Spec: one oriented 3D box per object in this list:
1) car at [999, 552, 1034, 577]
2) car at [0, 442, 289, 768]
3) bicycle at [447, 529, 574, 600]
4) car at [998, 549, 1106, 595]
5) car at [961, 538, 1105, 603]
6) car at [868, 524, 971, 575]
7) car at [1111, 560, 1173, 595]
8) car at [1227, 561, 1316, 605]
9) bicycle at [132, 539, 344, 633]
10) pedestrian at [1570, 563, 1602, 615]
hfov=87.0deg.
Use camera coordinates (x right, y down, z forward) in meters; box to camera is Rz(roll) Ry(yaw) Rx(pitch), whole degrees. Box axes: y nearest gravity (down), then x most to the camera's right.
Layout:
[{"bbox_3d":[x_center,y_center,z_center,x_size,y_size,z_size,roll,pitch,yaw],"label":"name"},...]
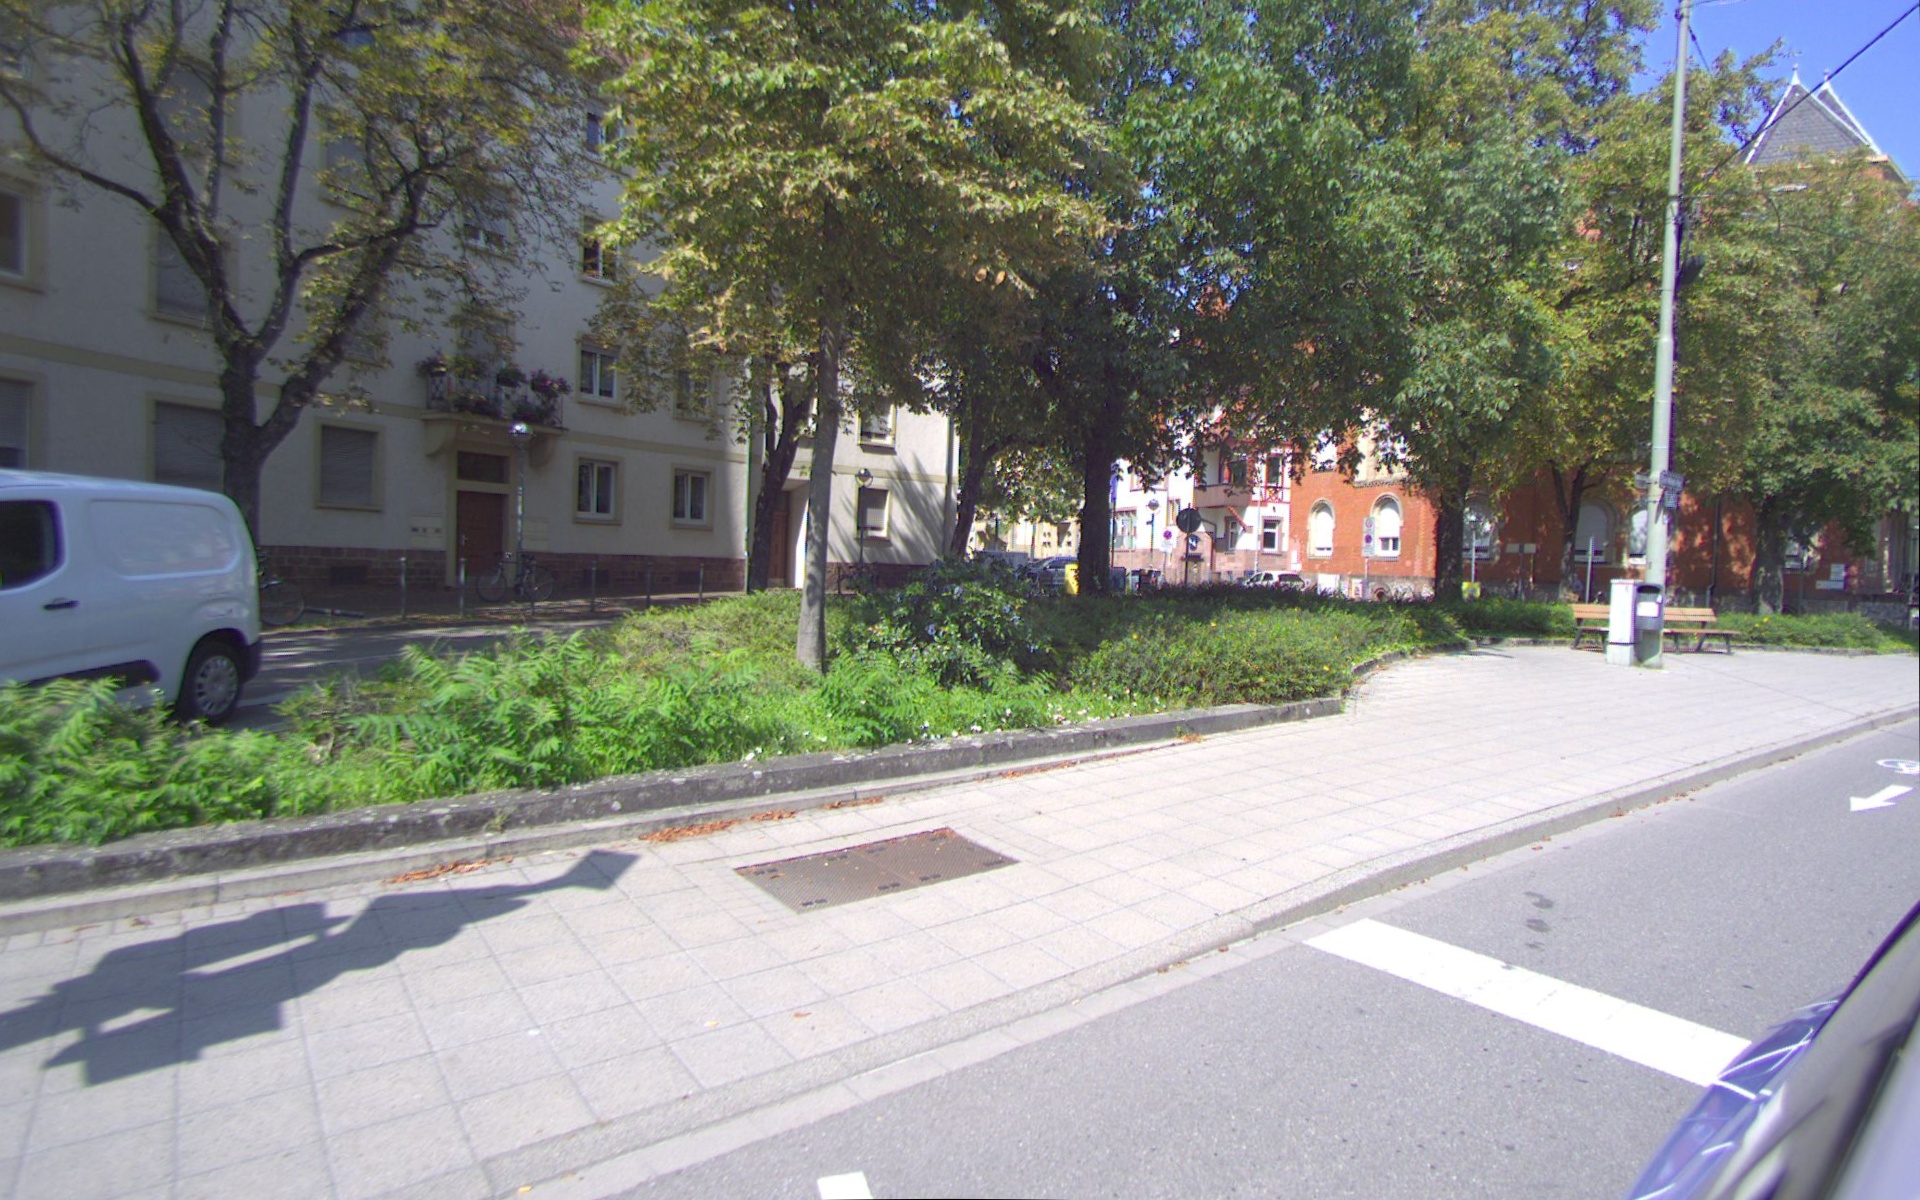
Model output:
[{"bbox_3d":[4.493,-2.841,80.811,1.767,1.834,4.425,2,2,-10],"label":"car"},{"bbox_3d":[-6.296,-0.016,6.076,1.769,1.834,4.420,2,2,-3],"label":"car"},{"bbox_3d":[-9.481,-0.740,21.420,0.887,1.427,2.320,2,2,40],"label":"bicycle"},{"bbox_3d":[4.006,-1.252,44.479,4.324,1.834,1.808,2,2,-10],"label":"car"},{"bbox_3d":[2.308,-0.974,32.818,4.327,1.833,1.807,2,3,-6],"label":"car"},{"bbox_3d":[-2.655,-3.265,65.990,6.349,3.013,1.809,1,2,-20],"label":"car"},{"bbox_3d":[10.458,-1.311,58.457,1.766,1.834,4.427,2,2,-14],"label":"car"},{"bbox_3d":[14.149,-0.817,46.189,1.766,1.834,4.427,2,2,-14],"label":"car"},{"bbox_3d":[-9.933,-0.214,14.034,0.804,1.139,2.246,6,4,29],"label":"bicycle"},{"bbox_3d":[23.811,-0.437,38.499,0.665,1.908,0.920,2,2,12],"label":"pedestrian"}]
